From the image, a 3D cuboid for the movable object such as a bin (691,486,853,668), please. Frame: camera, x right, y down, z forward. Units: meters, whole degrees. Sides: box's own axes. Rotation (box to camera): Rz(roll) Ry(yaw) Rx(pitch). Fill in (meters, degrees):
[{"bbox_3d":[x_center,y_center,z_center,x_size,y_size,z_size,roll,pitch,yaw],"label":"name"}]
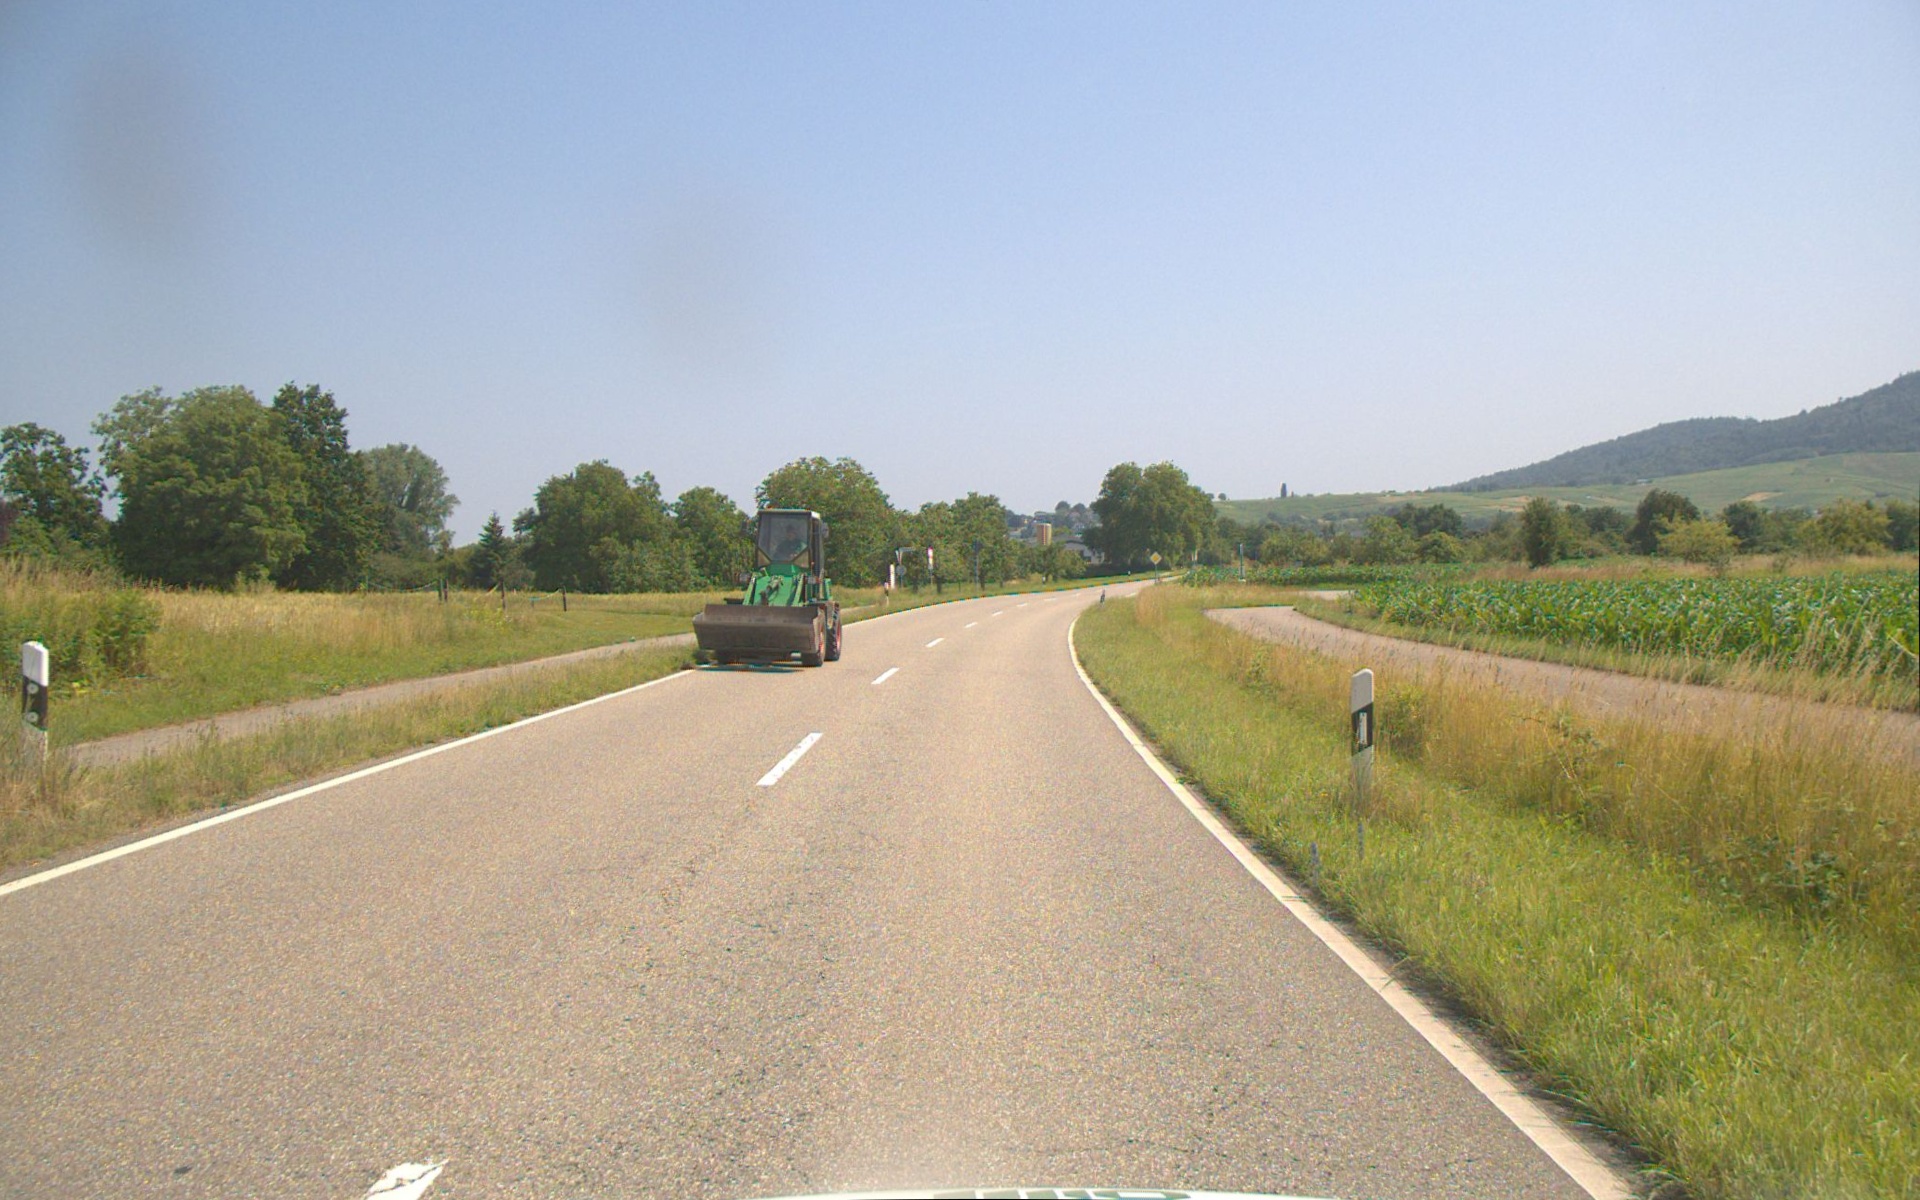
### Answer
[{"bbox_3d":[-3.106,-0.414,28.462,1.959,2.803,5.232,1,1,2],"label":"movable object such as a bin"}]
